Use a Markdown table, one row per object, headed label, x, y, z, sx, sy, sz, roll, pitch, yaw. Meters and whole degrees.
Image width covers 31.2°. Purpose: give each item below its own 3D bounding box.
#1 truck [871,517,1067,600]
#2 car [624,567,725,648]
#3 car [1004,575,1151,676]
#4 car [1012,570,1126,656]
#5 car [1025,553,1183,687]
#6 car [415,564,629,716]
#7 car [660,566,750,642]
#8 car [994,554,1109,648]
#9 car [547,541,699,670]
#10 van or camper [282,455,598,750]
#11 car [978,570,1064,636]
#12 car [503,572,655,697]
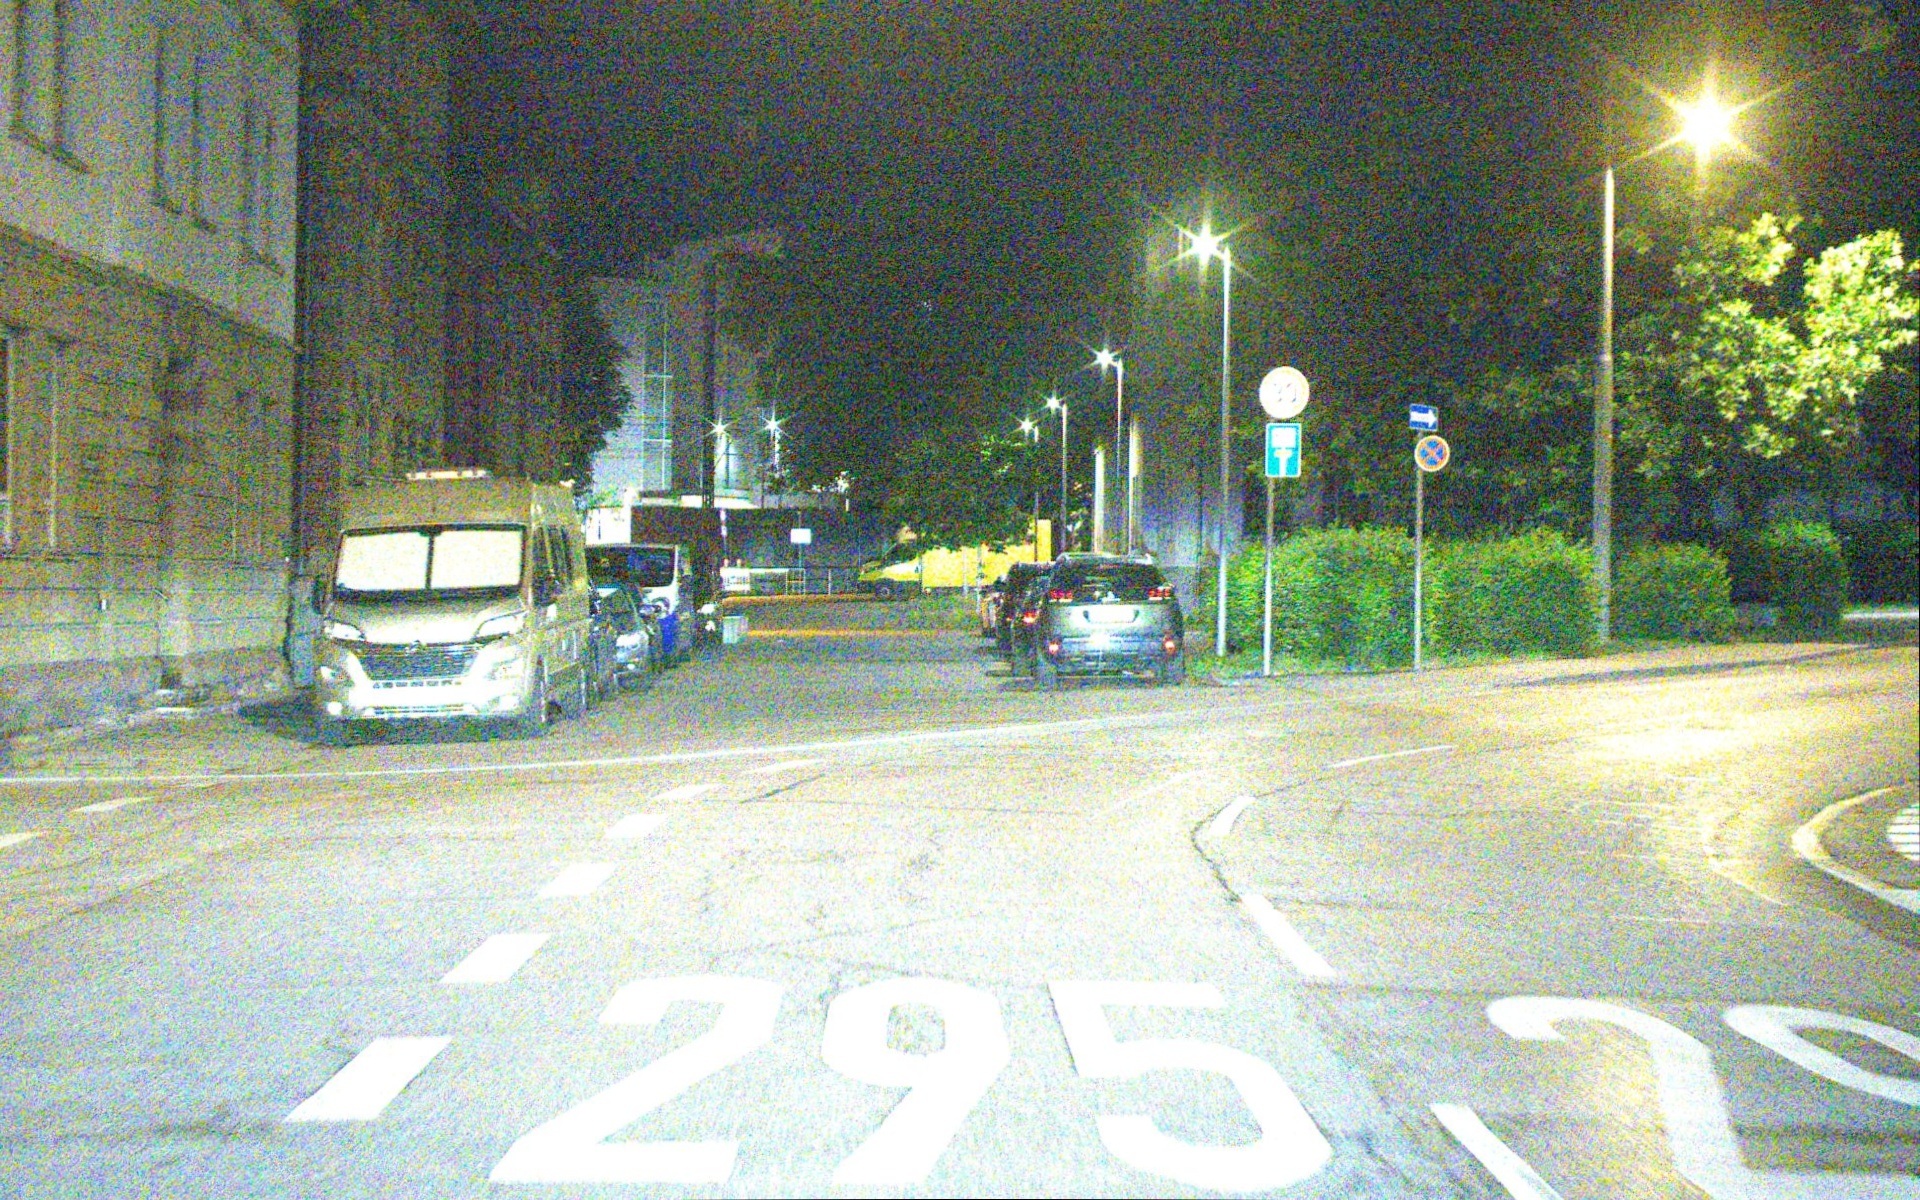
| label | x | y | z | sx | sy | sz | roll | pitch | yaw |
| --- | --- | --- | --- | --- | --- | --- | --- | --- | --- |
| truck | 0.304 | -1.460 | 121.494 | 6.775 | 2.835 | 2.000 | 1 | 1 | -3 |
| car | -5.520 | 0.142 | 66.881 | 1.705 | 1.505 | 4.100 | 1 | 0 | -1 |
| car | 1.645 | 0.352 | 49.355 | 1.963 | 1.378 | 4.000 | 0 | 0 | 0 |
| car | 1.909 | 0.200 | 61.544 | 1.880 | 1.410 | 4.473 | -2 | 1 | 0 |
| car | 1.803 | 0.234 | 43.974 | 1.884 | 1.597 | 4.107 | -1 | 0 | 1 |
| car | -4.900 | 0.411 | 39.021 | 1.892 | 1.585 | 4.374 | -1 | 0 | -1 |
| car | -5.373 | 0.075 | 72.790 | 1.677 | 1.561 | 4.105 | 0 | 0 | -1 |
| car | 1.740 | 0.007 | 66.885 | 2.040 | 1.688 | 4.882 | -2 | 0 | 0 |
| car | -5.294 | 0.063 | 54.563 | 1.993 | 1.948 | 4.806 | 0 | 0 | -1 |
| van or camper | -4.923 | 0.005 | 33.524 | 2.158 | 2.527 | 6.227 | -2 | 0 | -1 |
| car | 1.367 | 0.047 | 78.148 | 1.758 | 1.440 | 4.026 | -1 | 1 | -1 |
| car | -4.984 | 0.406 | 44.602 | 1.838 | 1.502 | 4.743 | -1 | 0 | -7 |
